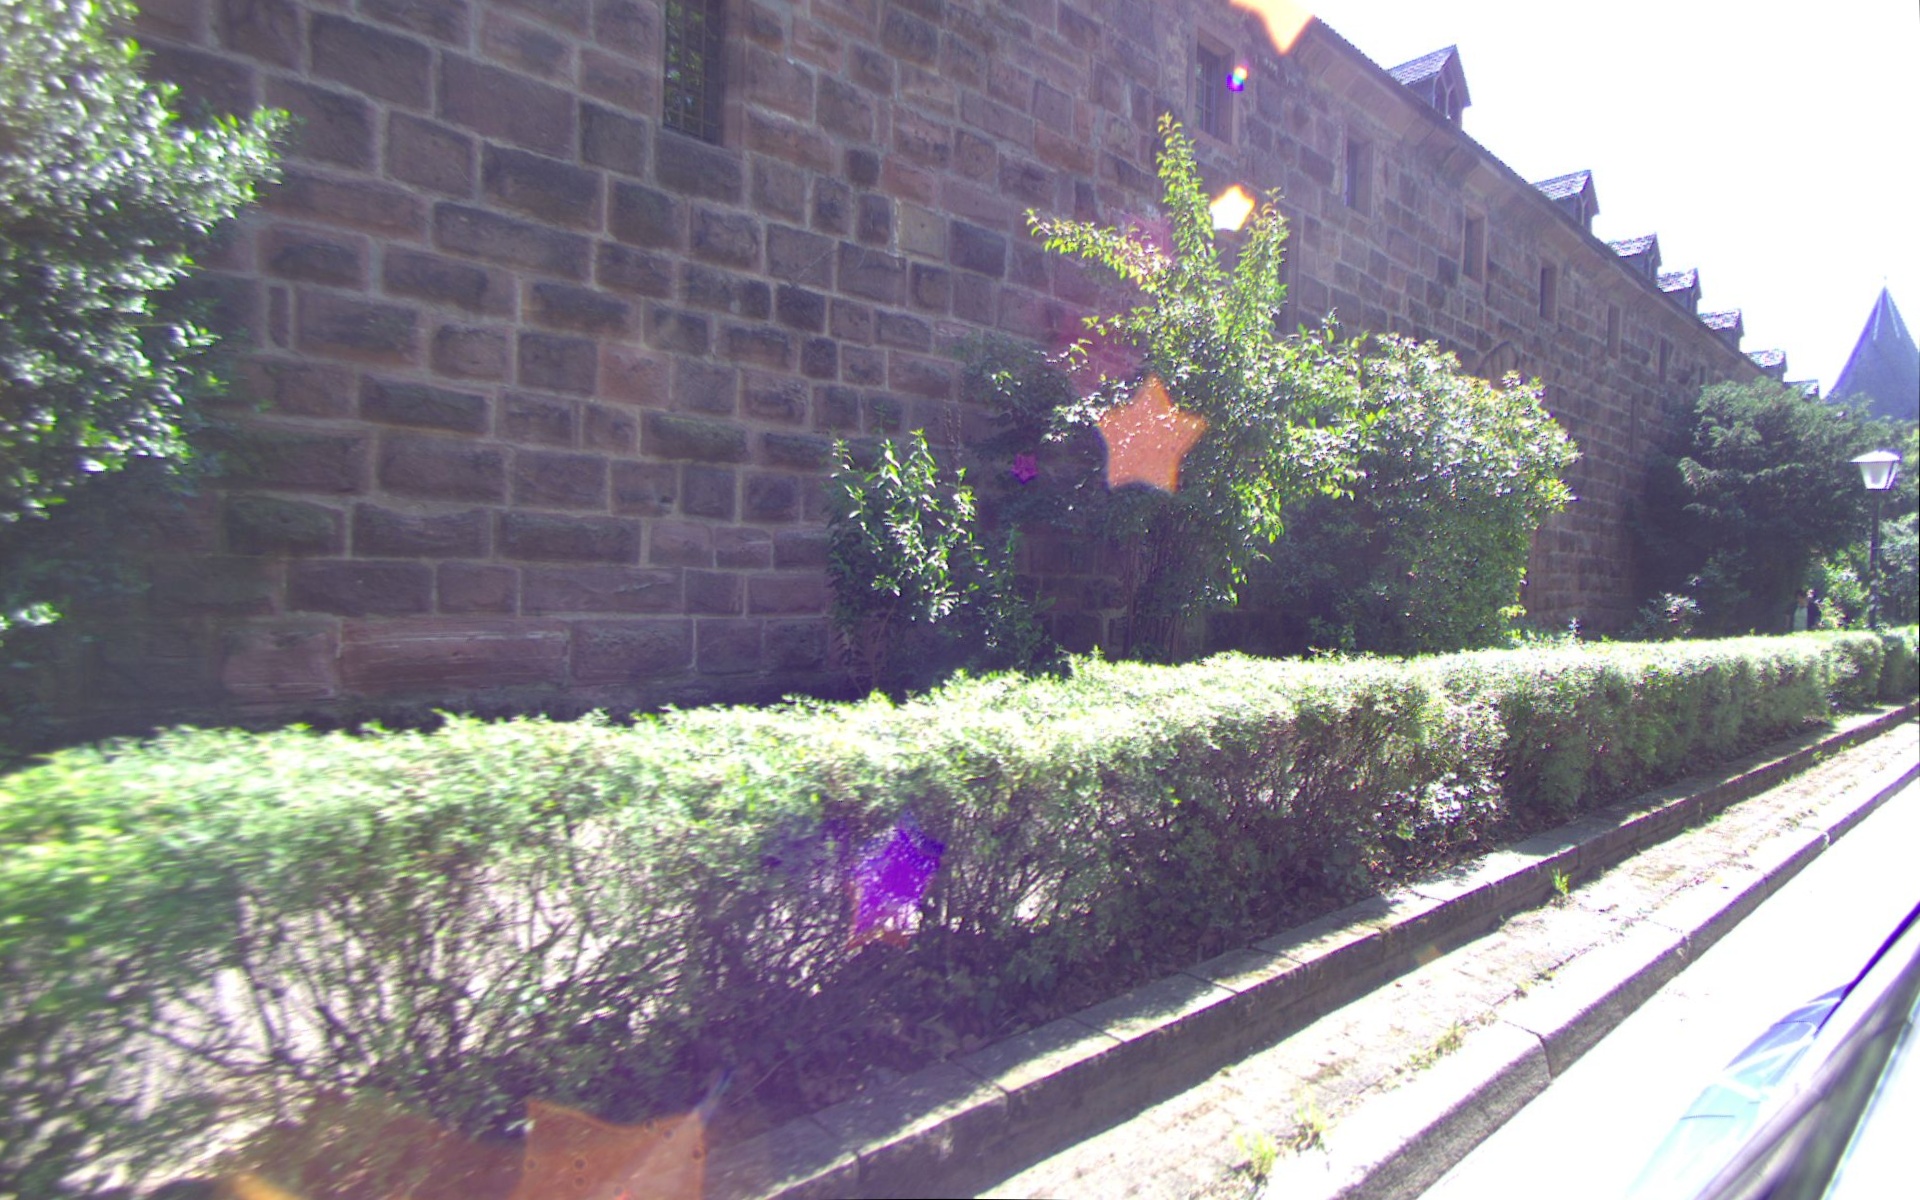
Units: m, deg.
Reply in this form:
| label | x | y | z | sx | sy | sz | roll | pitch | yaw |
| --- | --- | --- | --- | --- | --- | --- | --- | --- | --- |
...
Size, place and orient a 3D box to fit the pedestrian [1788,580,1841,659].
| label | x | y | z | sx | sy | sz | roll | pitch | yaw |
| --- | --- | --- | --- | --- | --- | --- | --- | --- | --- |
| pedestrian | 18.768 | 0.419 | 22.238 | 0.692 | 1.673 | 0.700 | 1 | 2 | -38 |
